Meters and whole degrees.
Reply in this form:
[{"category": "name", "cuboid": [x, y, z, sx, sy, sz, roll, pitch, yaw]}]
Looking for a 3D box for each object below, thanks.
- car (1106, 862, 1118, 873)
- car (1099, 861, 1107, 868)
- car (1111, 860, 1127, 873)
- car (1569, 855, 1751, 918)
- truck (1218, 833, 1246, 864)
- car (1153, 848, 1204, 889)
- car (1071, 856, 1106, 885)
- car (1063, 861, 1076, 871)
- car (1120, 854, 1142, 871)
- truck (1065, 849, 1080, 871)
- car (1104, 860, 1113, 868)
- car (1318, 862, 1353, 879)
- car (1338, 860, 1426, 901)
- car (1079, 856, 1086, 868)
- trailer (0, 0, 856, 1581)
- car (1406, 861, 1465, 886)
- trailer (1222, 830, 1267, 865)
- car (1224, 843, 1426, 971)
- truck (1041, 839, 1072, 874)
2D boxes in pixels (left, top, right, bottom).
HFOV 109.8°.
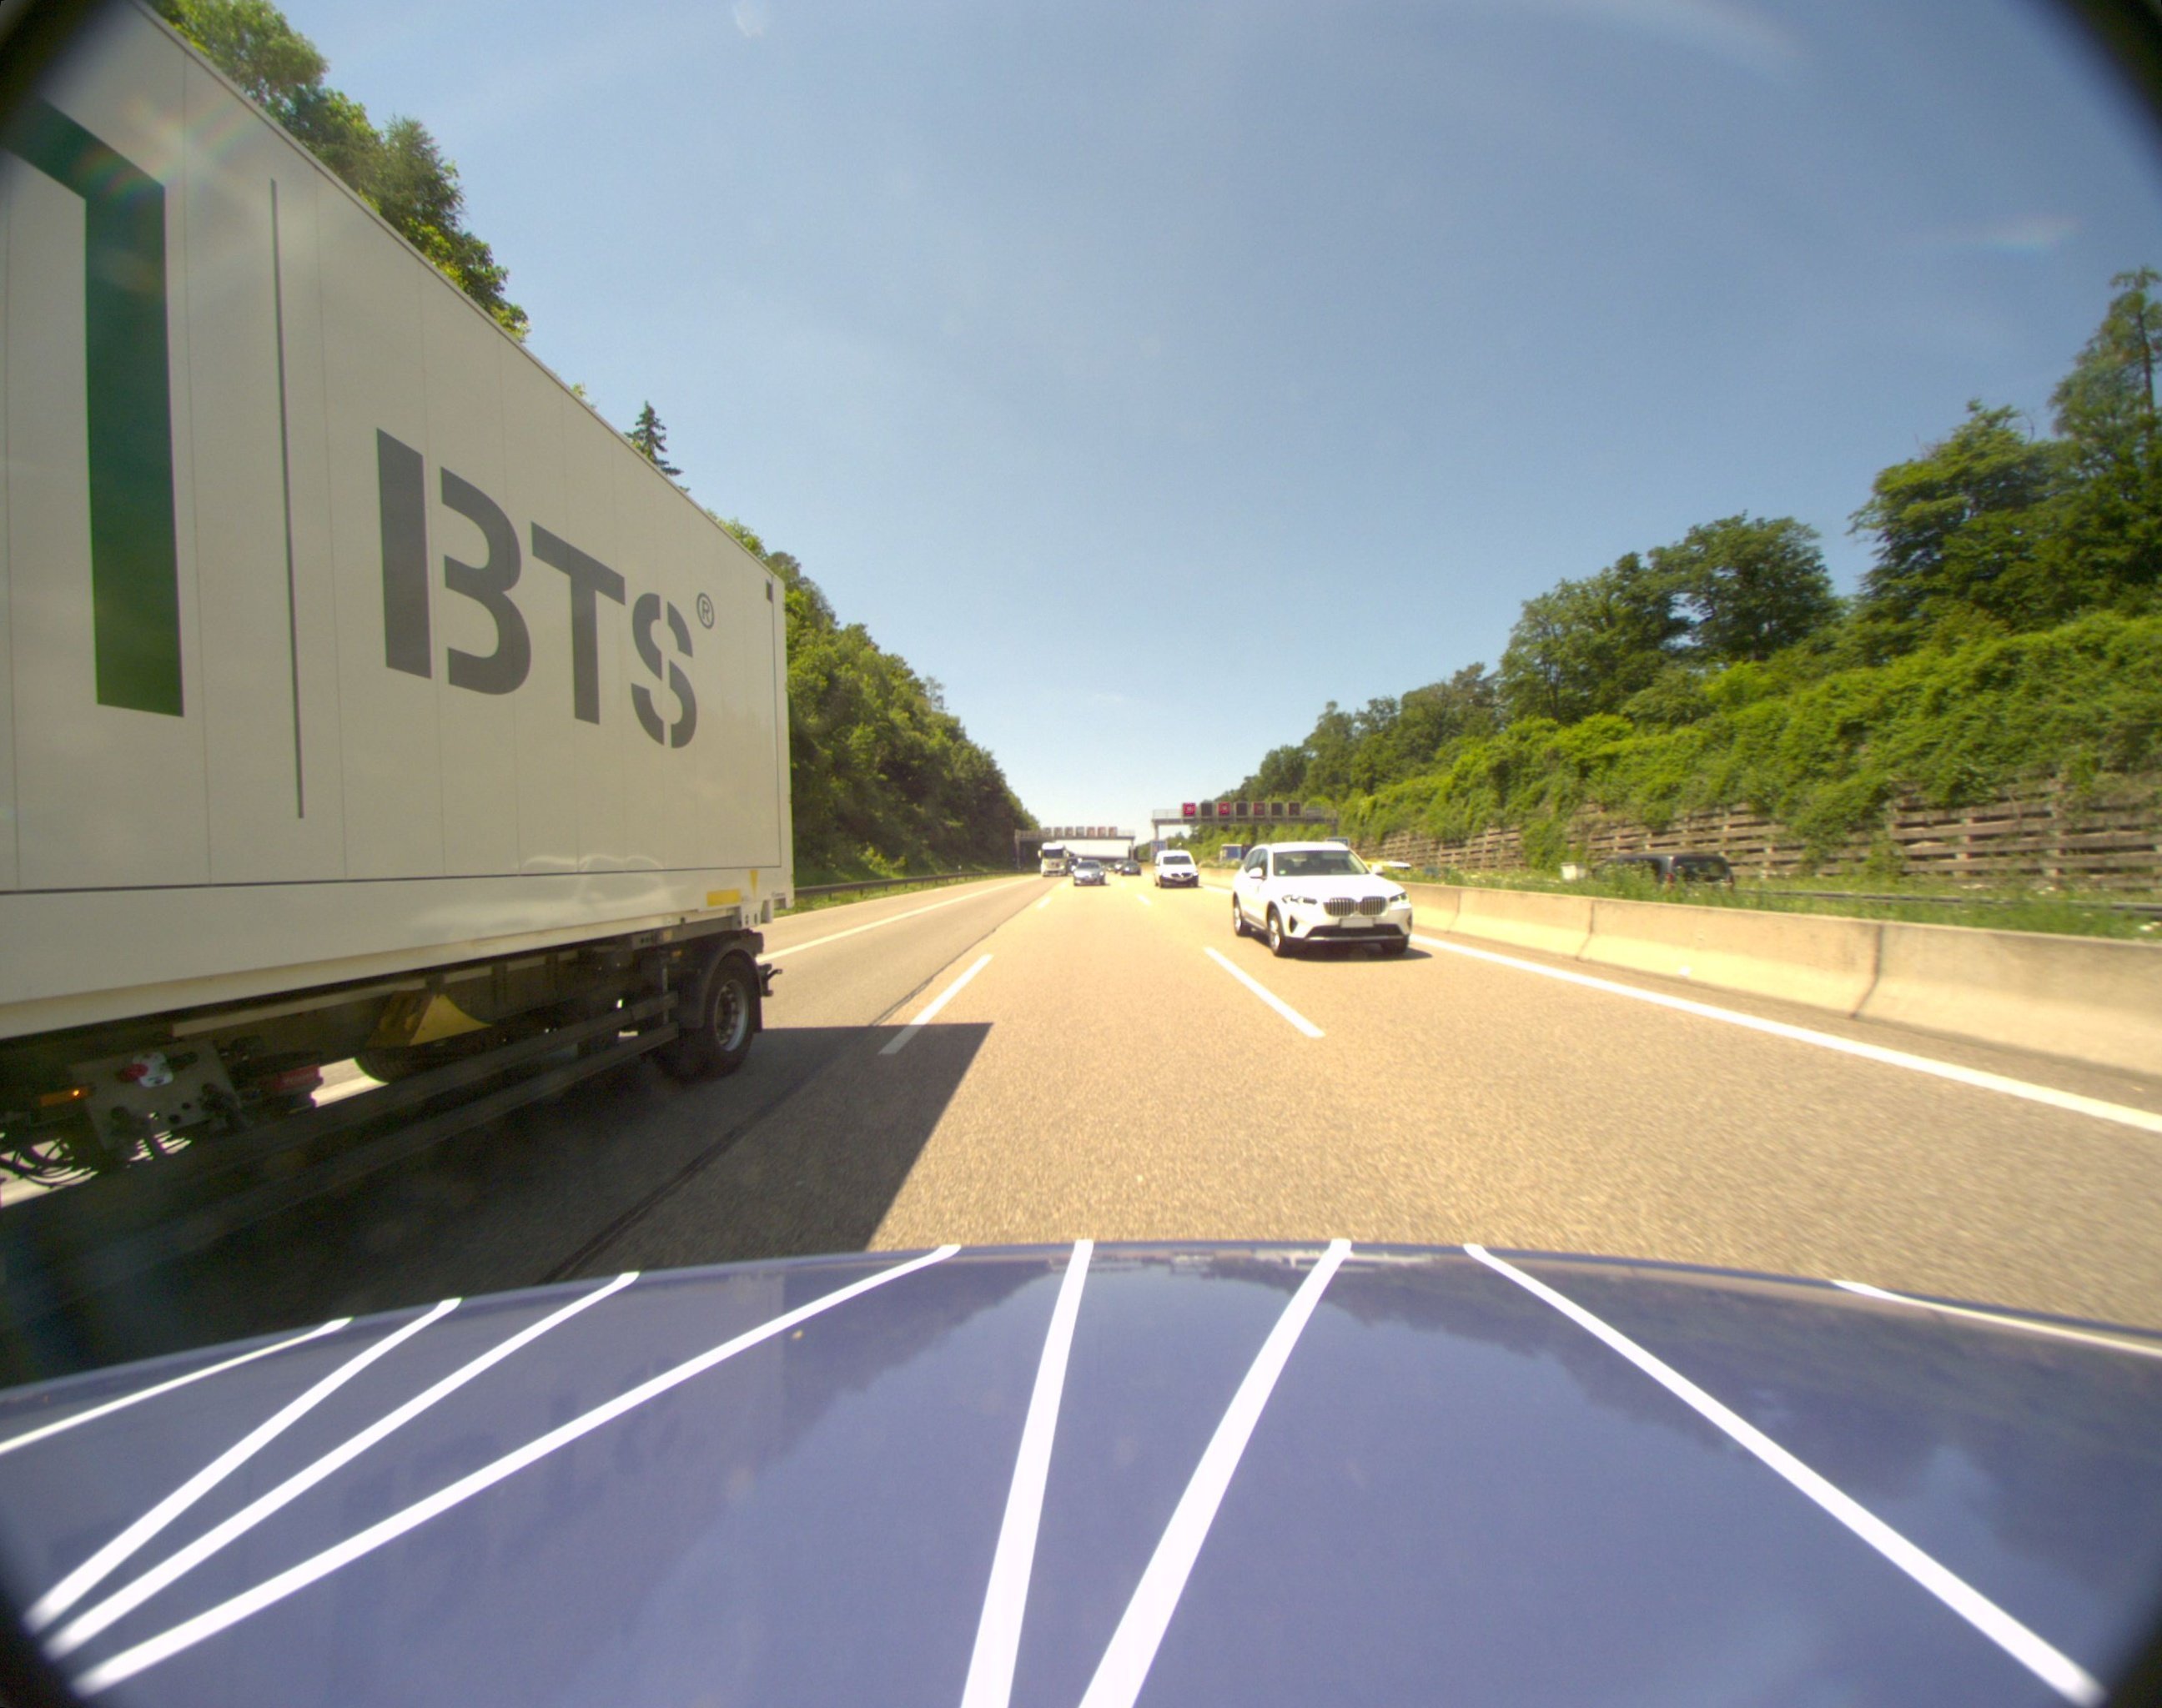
[{"category": "car", "cuboid": [5.353, 2.371, 131.747, 1.924, 1.848, 4.001, -3, -1, 2]}, {"category": "car", "cuboid": [5.937, 2.763, 206.263, 1.924, 1.848, 4.001, -3, -1, 2]}, {"category": "car", "cuboid": [4.786, 1.550, 95.829, 1.770, 1.504, 4.000, -3, -1, 0]}, {"category": "car", "cuboid": [15.330, 0.798, 20.458, 1.792, 1.513, 4.204, 0, 0, 2]}, {"category": "truck", "cuboid": [20.393, -0.676, 102.848, 2.687, 4.006, 5.932, -1, -1, 0]}, {"category": "car", "cuboid": [4.714, 0.706, 37.219, 1.998, 1.764, 4.502, -3, -1, 2]}, {"category": "car", "cuboid": [0.474, 0.919, 44.062, 1.843, 1.517, 4.502, -3, -1, 2]}, {"category": "car", "cuboid": [-1.680, 1.812, 115.411, 1.770, 1.504, 4.000, -3, -1, 0]}, {"category": "car", "cuboid": [4.709, 0.830, 72.060, 1.770, 1.504, 4.726, -3, -1, 0]}, {"category": "truck", "cuboid": [-1.761, 1.247, 161.648, 2.627, 4.364, 13.089, -3, -1, 0]}, {"category": "car", "cuboid": [6.472, 2.381, 180.068, 1.924, 1.848, 4.001, -3, -1, 2]}, {"category": "car", "cuboid": [23.359, 1.490, 69.974, 1.662, 1.444, 4.923, -1, -1, 2]}, {"category": "car", "cuboid": [11.793, 0.993, 30.117, 1.942, 1.513, 4.204, 0, 0, 2]}, {"category": "car", "cuboid": [0.404, 2.488, 229.768, 1.924, 3.522, 4.825, -3, -1, 2]}, {"category": "trailer", "cuboid": [-3.877, -0.344, 3.145, 2.687, 4.151, 10.066, -2, -1, 1]}, {"category": "car", "cuboid": [22.985, 1.249, 49.404, 1.942, 1.513, 4.203, 0, 0, 1]}, {"category": "trailer", "cuboid": [20.349, -0.690, 95.738, 2.687, 3.991, 14.190, -1, -1, 0]}, {"category": "car", "cuboid": [3.665, 0.711, 12.299, 1.850, 1.634, 4.368, -2, 0, 0]}, {"category": "truck", "cuboid": [-2.671, 0.339, 86.293, 2.844, 3.517, 13.089, -3, -1, 0]}]
